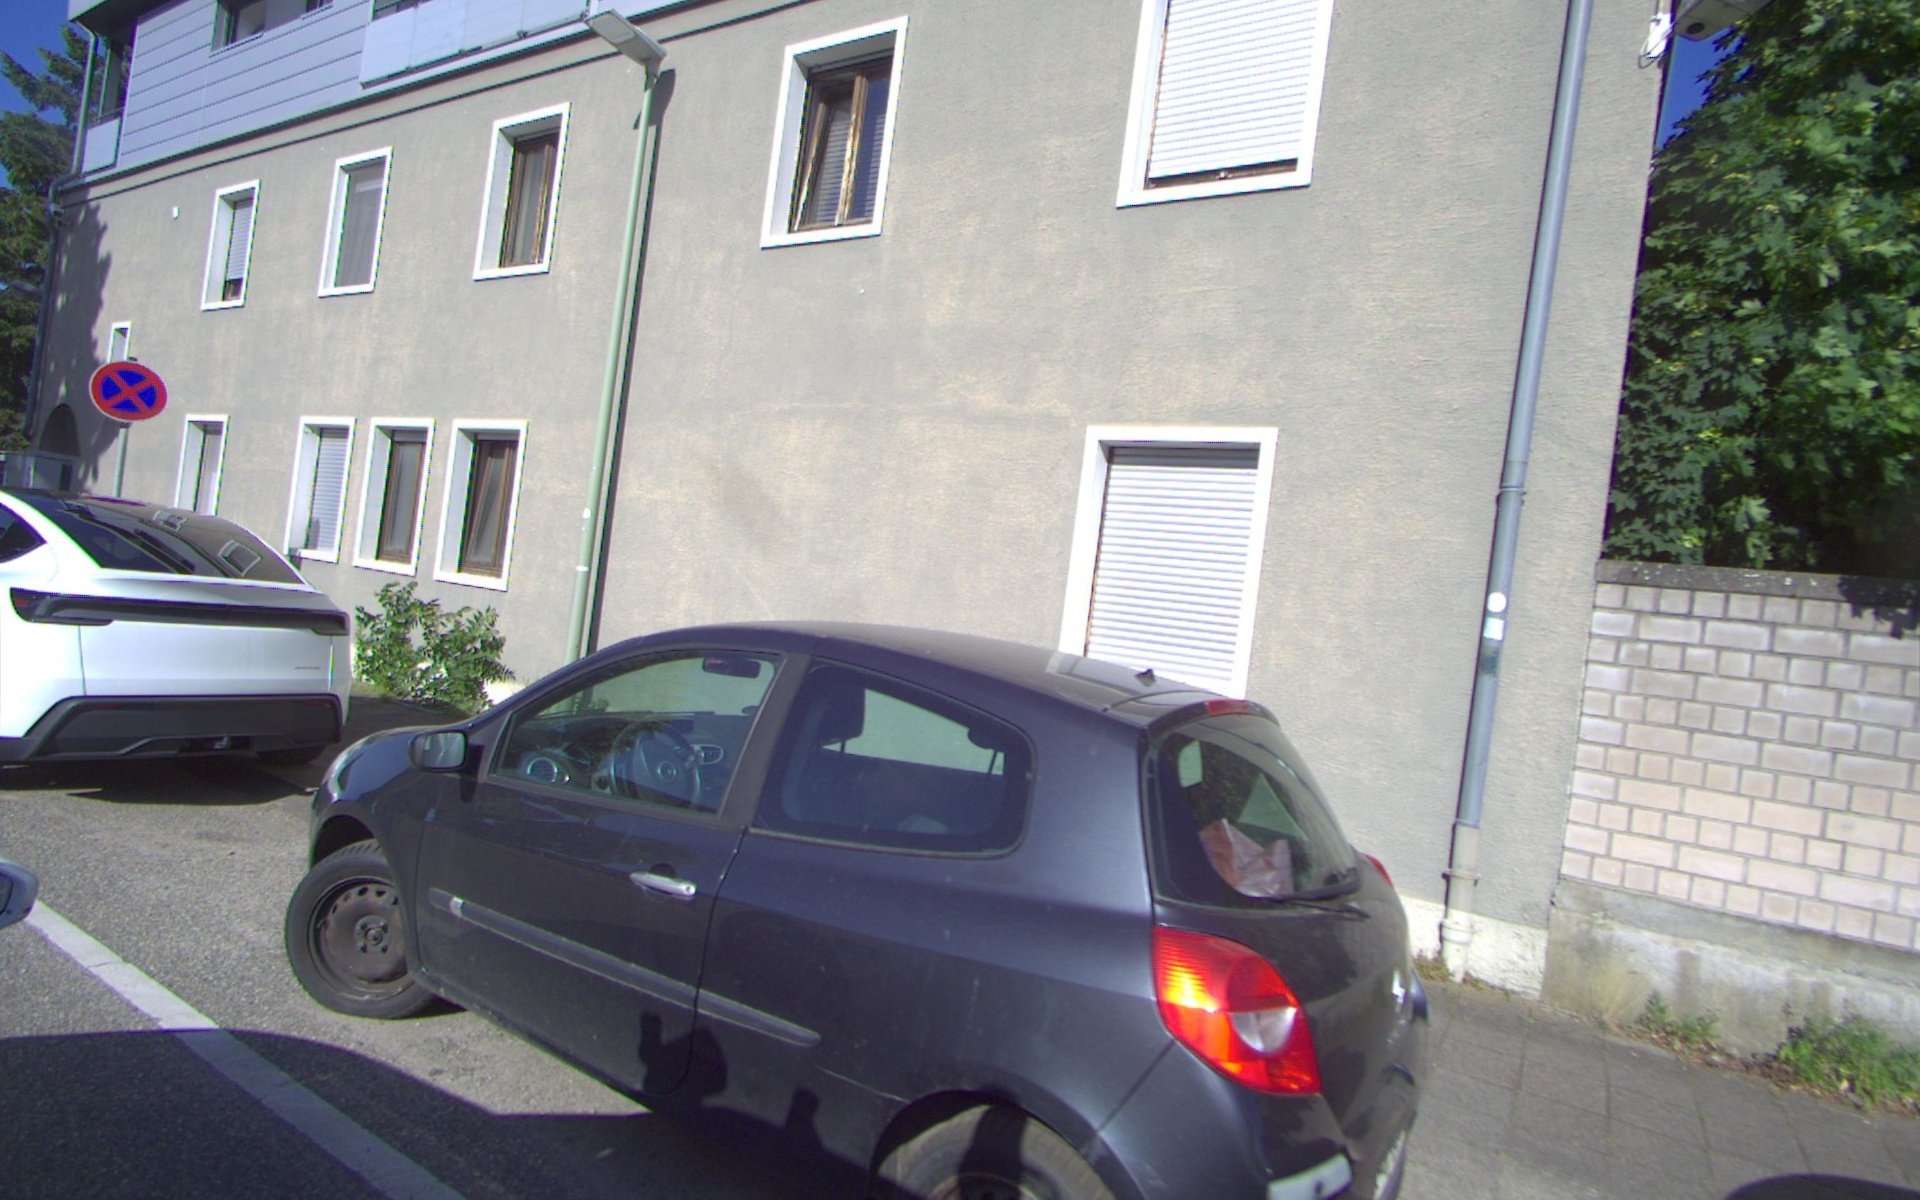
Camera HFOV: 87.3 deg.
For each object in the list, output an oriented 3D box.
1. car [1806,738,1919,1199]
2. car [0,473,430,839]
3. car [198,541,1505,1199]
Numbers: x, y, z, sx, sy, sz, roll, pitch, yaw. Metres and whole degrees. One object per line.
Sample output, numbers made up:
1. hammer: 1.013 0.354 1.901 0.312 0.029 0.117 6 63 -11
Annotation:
1. car: 3.431 1.231 0.780 3.965 1.523 1.662 7 -1 32
2. car: -5.867 0.100 6.569 4.689 1.664 1.935 7 -1 30
3. car: -0.712 0.785 3.306 4.124 1.490 1.600 7 -1 35
